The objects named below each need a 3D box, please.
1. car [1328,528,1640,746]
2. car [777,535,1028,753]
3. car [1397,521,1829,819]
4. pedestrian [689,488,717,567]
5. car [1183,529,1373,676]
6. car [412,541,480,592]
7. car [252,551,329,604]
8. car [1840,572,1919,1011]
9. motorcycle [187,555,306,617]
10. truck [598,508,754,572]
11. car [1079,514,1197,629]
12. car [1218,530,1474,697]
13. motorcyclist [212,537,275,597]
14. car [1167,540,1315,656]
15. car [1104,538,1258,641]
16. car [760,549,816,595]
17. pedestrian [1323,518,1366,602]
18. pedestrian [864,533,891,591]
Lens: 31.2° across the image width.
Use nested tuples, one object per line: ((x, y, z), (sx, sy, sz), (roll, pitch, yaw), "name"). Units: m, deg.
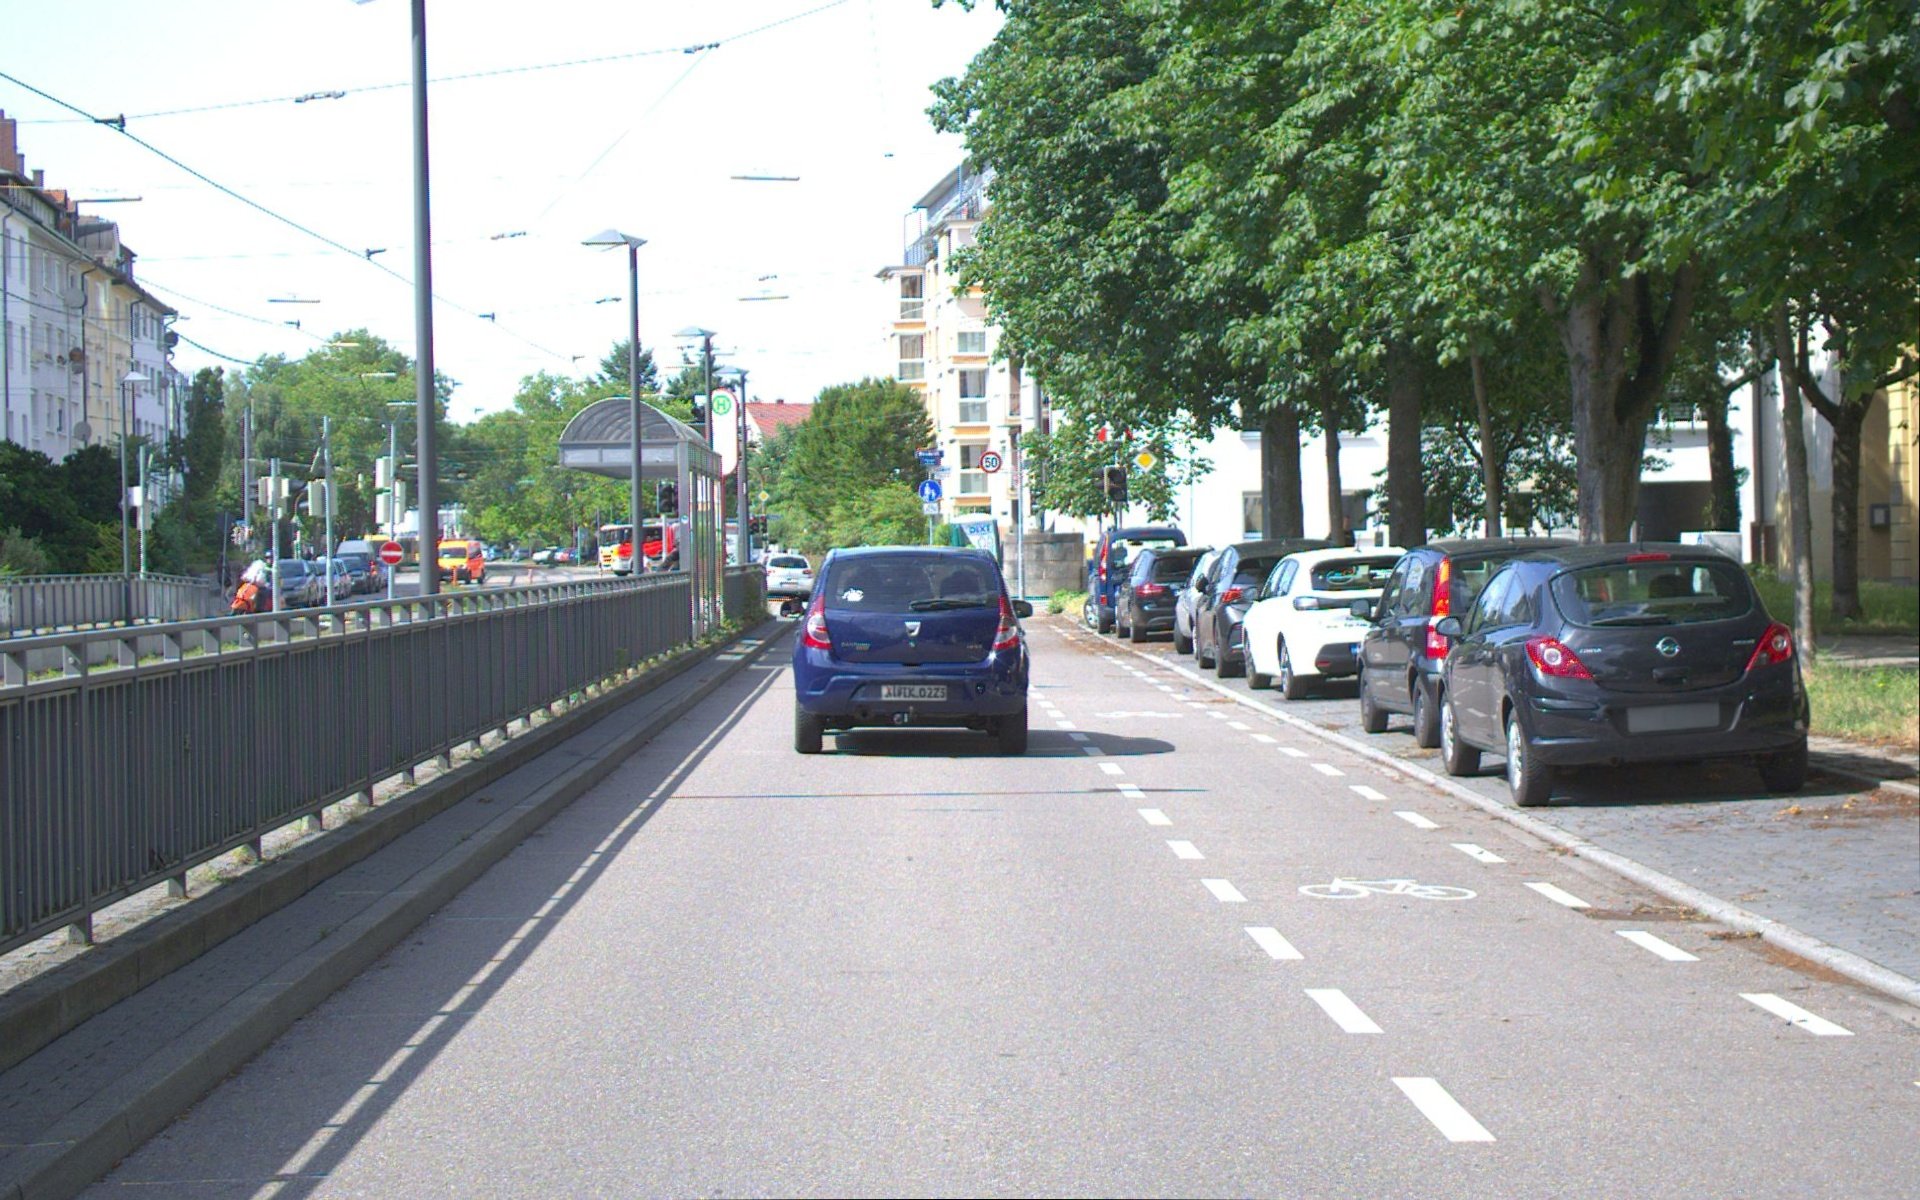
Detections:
((3.970, 0.262, 26.546), (1.555, 1.456, 3.559), (-4, 0, -4), "car")
((-0.461, 0.296, 26.102), (1.744, 1.502, 4.000), (1, 0, -2), "car")
((3.922, 0.352, 21.349), (1.690, 1.556, 4.308), (-4, 1, -1), "car")
((-5.404, -1.529, 72.400), (0.517, 1.642, 0.530), (-2, 0, -4), "pedestrian")
((3.718, -0.017, 40.881), (1.725, 1.578, 4.677), (-2, 1, 0), "car")
((-25.658, -1.676, 171.469), (1.993, 2.267, 4.835), (3, 1, -24), "car")
((-21.399, -0.716, 109.975), (1.993, 1.639, 4.001), (1, 0, -5), "car")
((4.241, 0.597, 9.755), (1.831, 1.462, 4.832), (-3, 0, -5), "car")
((-16.142, -0.323, 77.820), (1.017, 1.334, 2.511), (-1, 1, 41), "motorcycle")
((-16.036, -3.401, 194.398), (8.355, 3.175, 2.605), (-3, 1, -30), "truck")
((3.103, -0.535, 60.643), (1.823, 1.889, 4.184), (-2, 1, 0), "car")
((3.884, 0.098, 35.284), (1.835, 1.518, 4.254), (-3, 1, -3), "car")
((-16.195, -0.743, 77.709), (0.940, 1.335, 0.984), (-1, 1, 41), "motorcyclist")
((3.742, -0.048, 46.294), (1.590, 1.440, 3.598), (-3, 1, -1), "car")
((3.504, -0.206, 55.294), (1.917, 1.437, 4.797), (-3, 1, -2), "car")
((-5.532, -0.897, 110.468), (1.622, 1.460, 3.511), (1, 0, -5), "car")
((7.918, -0.830, 70.798), (0.744, 1.690, 0.767), (-1, 1, 0), "pedestrian")
((-2.647, -1.217, 109.842), (0.701, 1.783, 1.030), (-4, 1, -4), "pedestrian")
